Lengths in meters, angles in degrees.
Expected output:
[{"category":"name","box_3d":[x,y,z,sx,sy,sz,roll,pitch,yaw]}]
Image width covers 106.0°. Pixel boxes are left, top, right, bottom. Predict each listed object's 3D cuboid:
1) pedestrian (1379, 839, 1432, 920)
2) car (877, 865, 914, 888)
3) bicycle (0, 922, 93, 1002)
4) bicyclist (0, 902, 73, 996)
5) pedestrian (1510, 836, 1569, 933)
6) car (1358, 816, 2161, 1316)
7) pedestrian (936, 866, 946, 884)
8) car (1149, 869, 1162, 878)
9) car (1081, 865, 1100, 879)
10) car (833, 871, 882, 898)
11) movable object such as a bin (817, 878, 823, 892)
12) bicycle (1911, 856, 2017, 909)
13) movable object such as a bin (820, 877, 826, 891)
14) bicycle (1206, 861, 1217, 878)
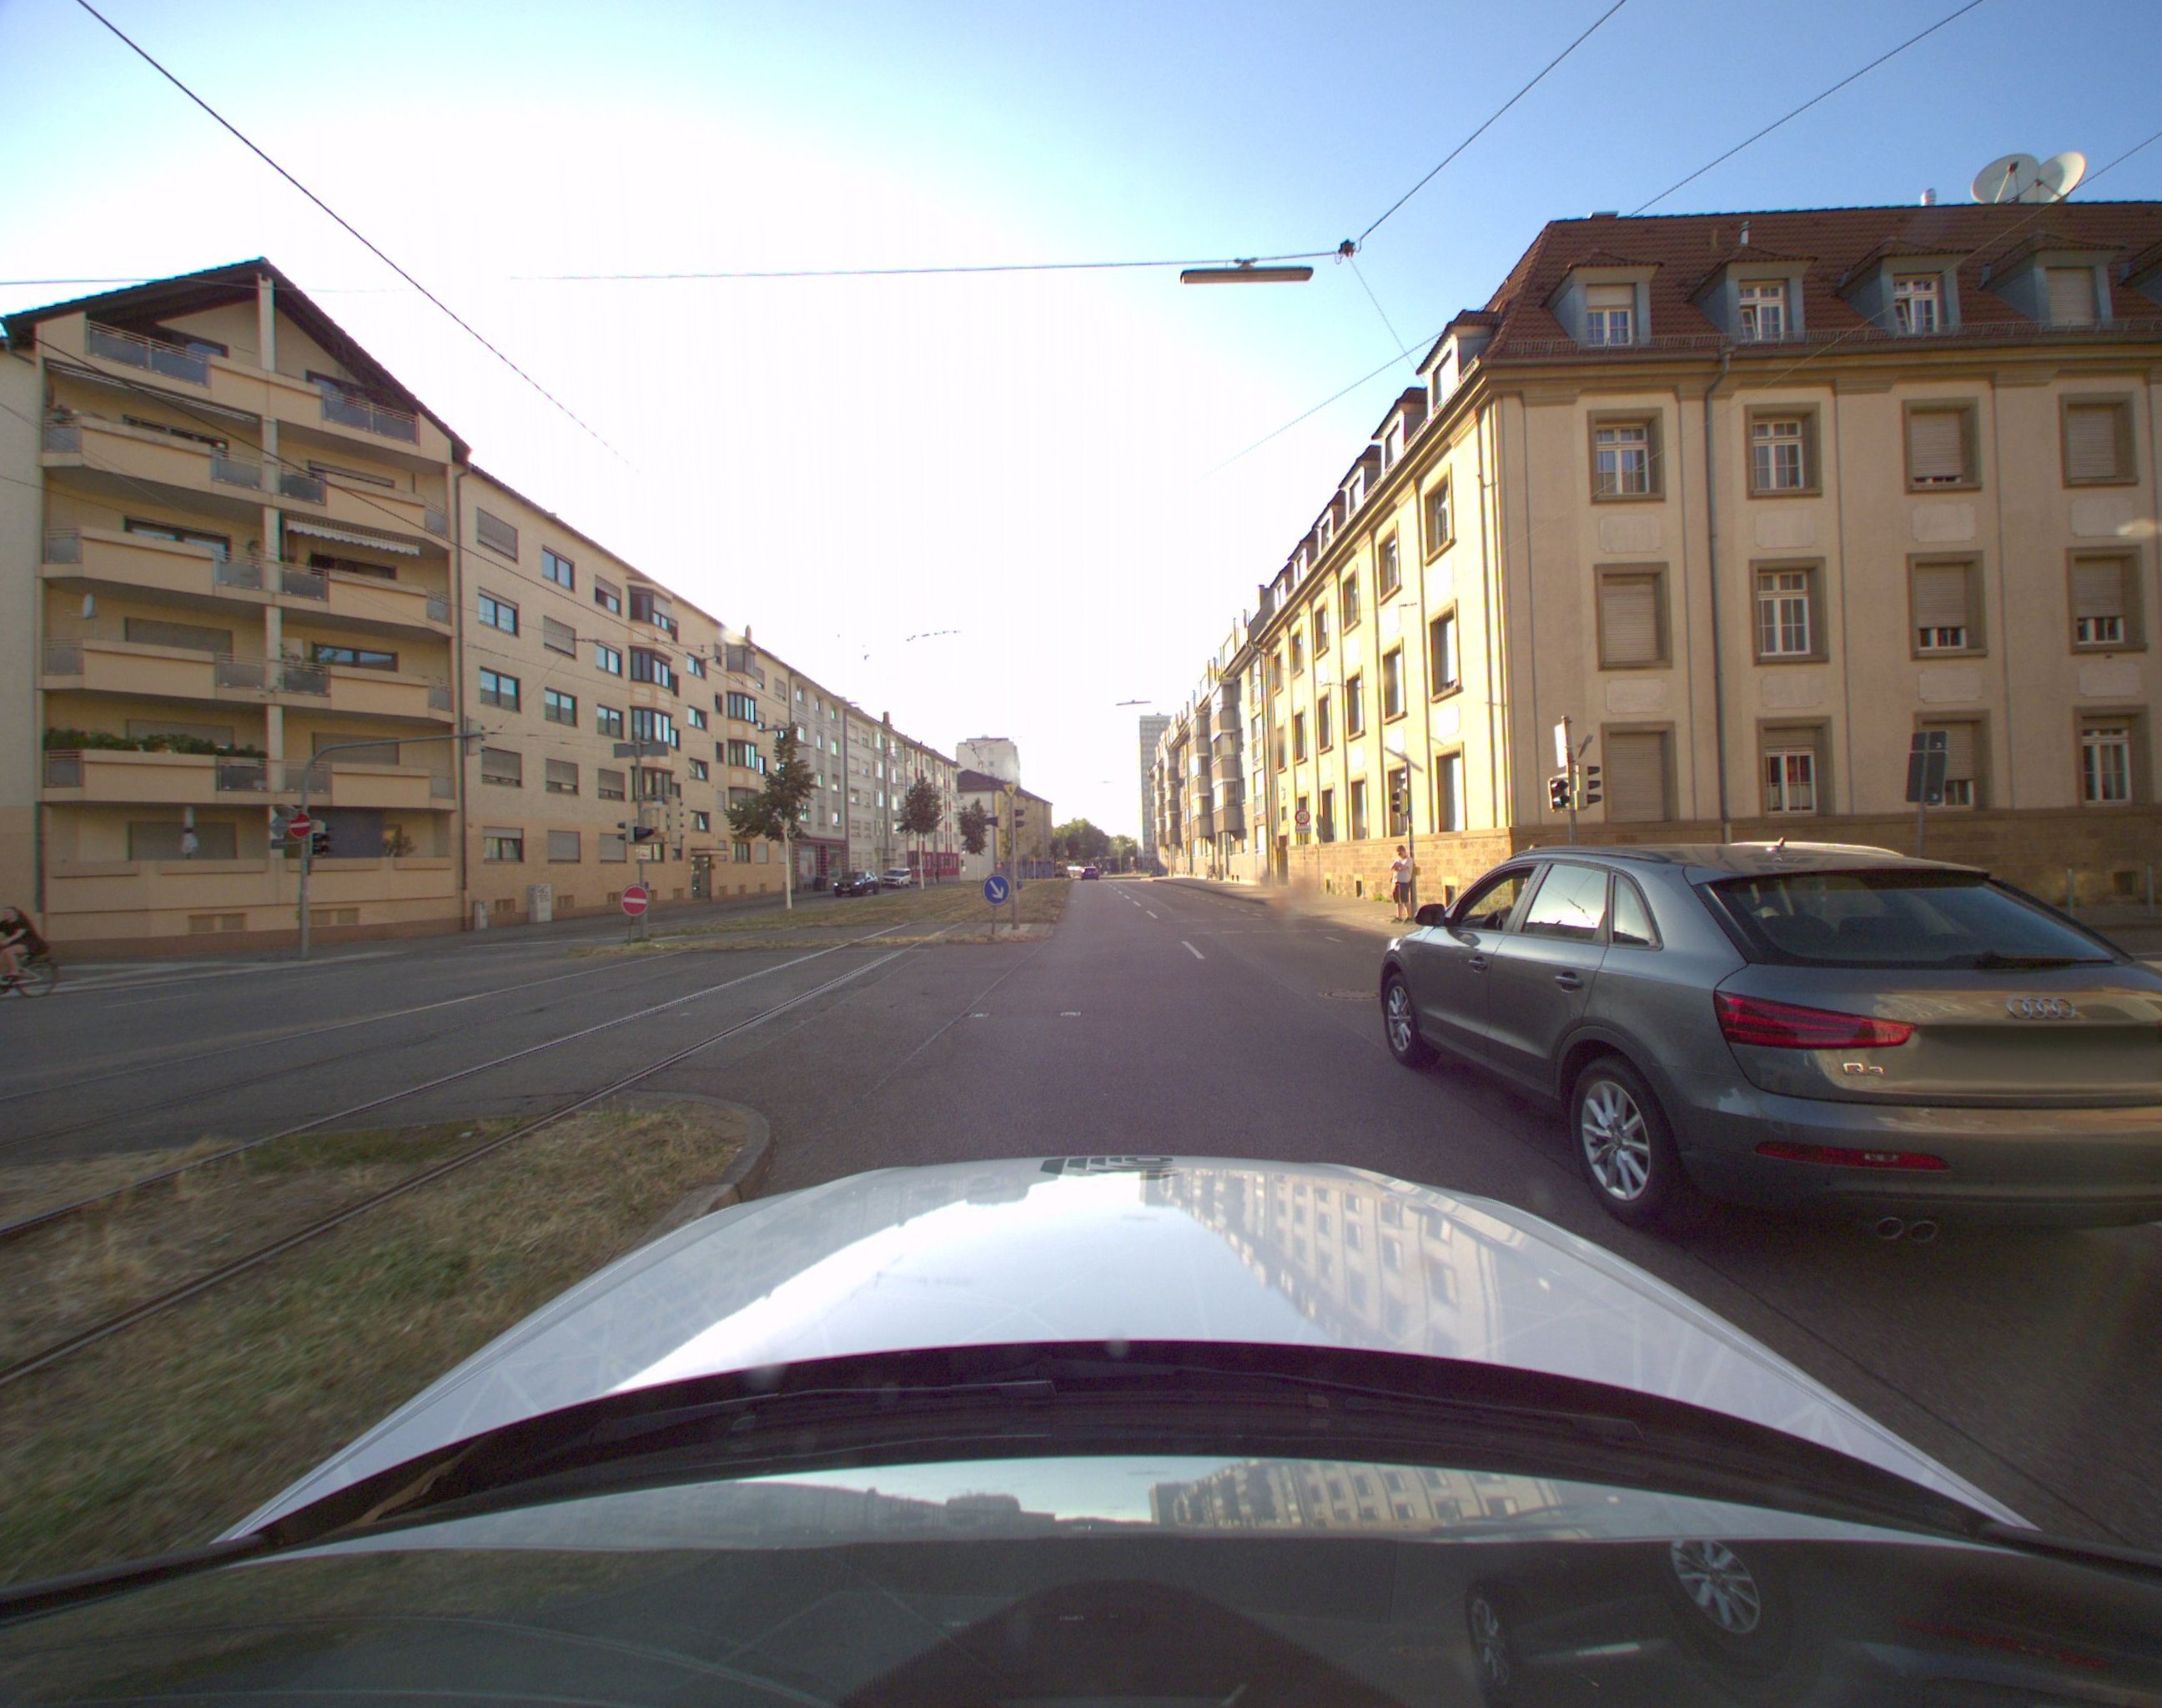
[{"category":"pedestrian","box_3d":[7.259,0.567,18.260,0.832,1.762,0.824,-1,-2,0]},{"category":"car","box_3d":[-16.661,2.023,73.374,1.985,1.925,4.546,-1,-1,4]},{"category":"bicycle","box_3d":[-18.801,1.918,14.382,0.454,1.257,1.868,-2,0,-3]},{"category":"bicyclist","box_3d":[-18.808,1.673,14.524,0.624,1.586,0.808,-1,-1,-2]},{"category":"pedestrian","box_3d":[8.647,0.569,15.387,0.627,1.758,0.825,-1,-2,0]},{"category":"car","box_3d":[3.090,0.701,4.680,1.691,1.553,4.227,-1,-1,2]},{"category":"pedestrian","box_3d":[-16.681,2.482,96.934,0.999,2.036,0.887,-1,-2,7]},{"category":"car","box_3d":[14.562,3.815,159.099,1.981,1.564,4.011,-1,-1,10]},{"category":"car","box_3d":[1.036,1.873,84.346,1.919,1.456,4.328,-1,-1,2]},{"category":"car","box_3d":[-15.055,2.044,55.218,1.891,1.633,4.747,-2,-1,1]},{"category":"movable object such as a bin","box_3d":[-19.277,2.257,60.127,0.297,1.036,0.441,-1,-2,-1]},{"category":"bicycle","box_3d":[17.572,0.572,16.224,1.491,1.018,0.251,-1,-2,16]},{"category":"movable object such as a bin","box_3d":[-19.282,2.264,60.933,0.297,1.036,0.441,-1,-2,-1]},{"category":"bicycle","box_3d":[8.678,1.060,54.171,0.382,1.096,1.503,-3,-1,-2]}]
